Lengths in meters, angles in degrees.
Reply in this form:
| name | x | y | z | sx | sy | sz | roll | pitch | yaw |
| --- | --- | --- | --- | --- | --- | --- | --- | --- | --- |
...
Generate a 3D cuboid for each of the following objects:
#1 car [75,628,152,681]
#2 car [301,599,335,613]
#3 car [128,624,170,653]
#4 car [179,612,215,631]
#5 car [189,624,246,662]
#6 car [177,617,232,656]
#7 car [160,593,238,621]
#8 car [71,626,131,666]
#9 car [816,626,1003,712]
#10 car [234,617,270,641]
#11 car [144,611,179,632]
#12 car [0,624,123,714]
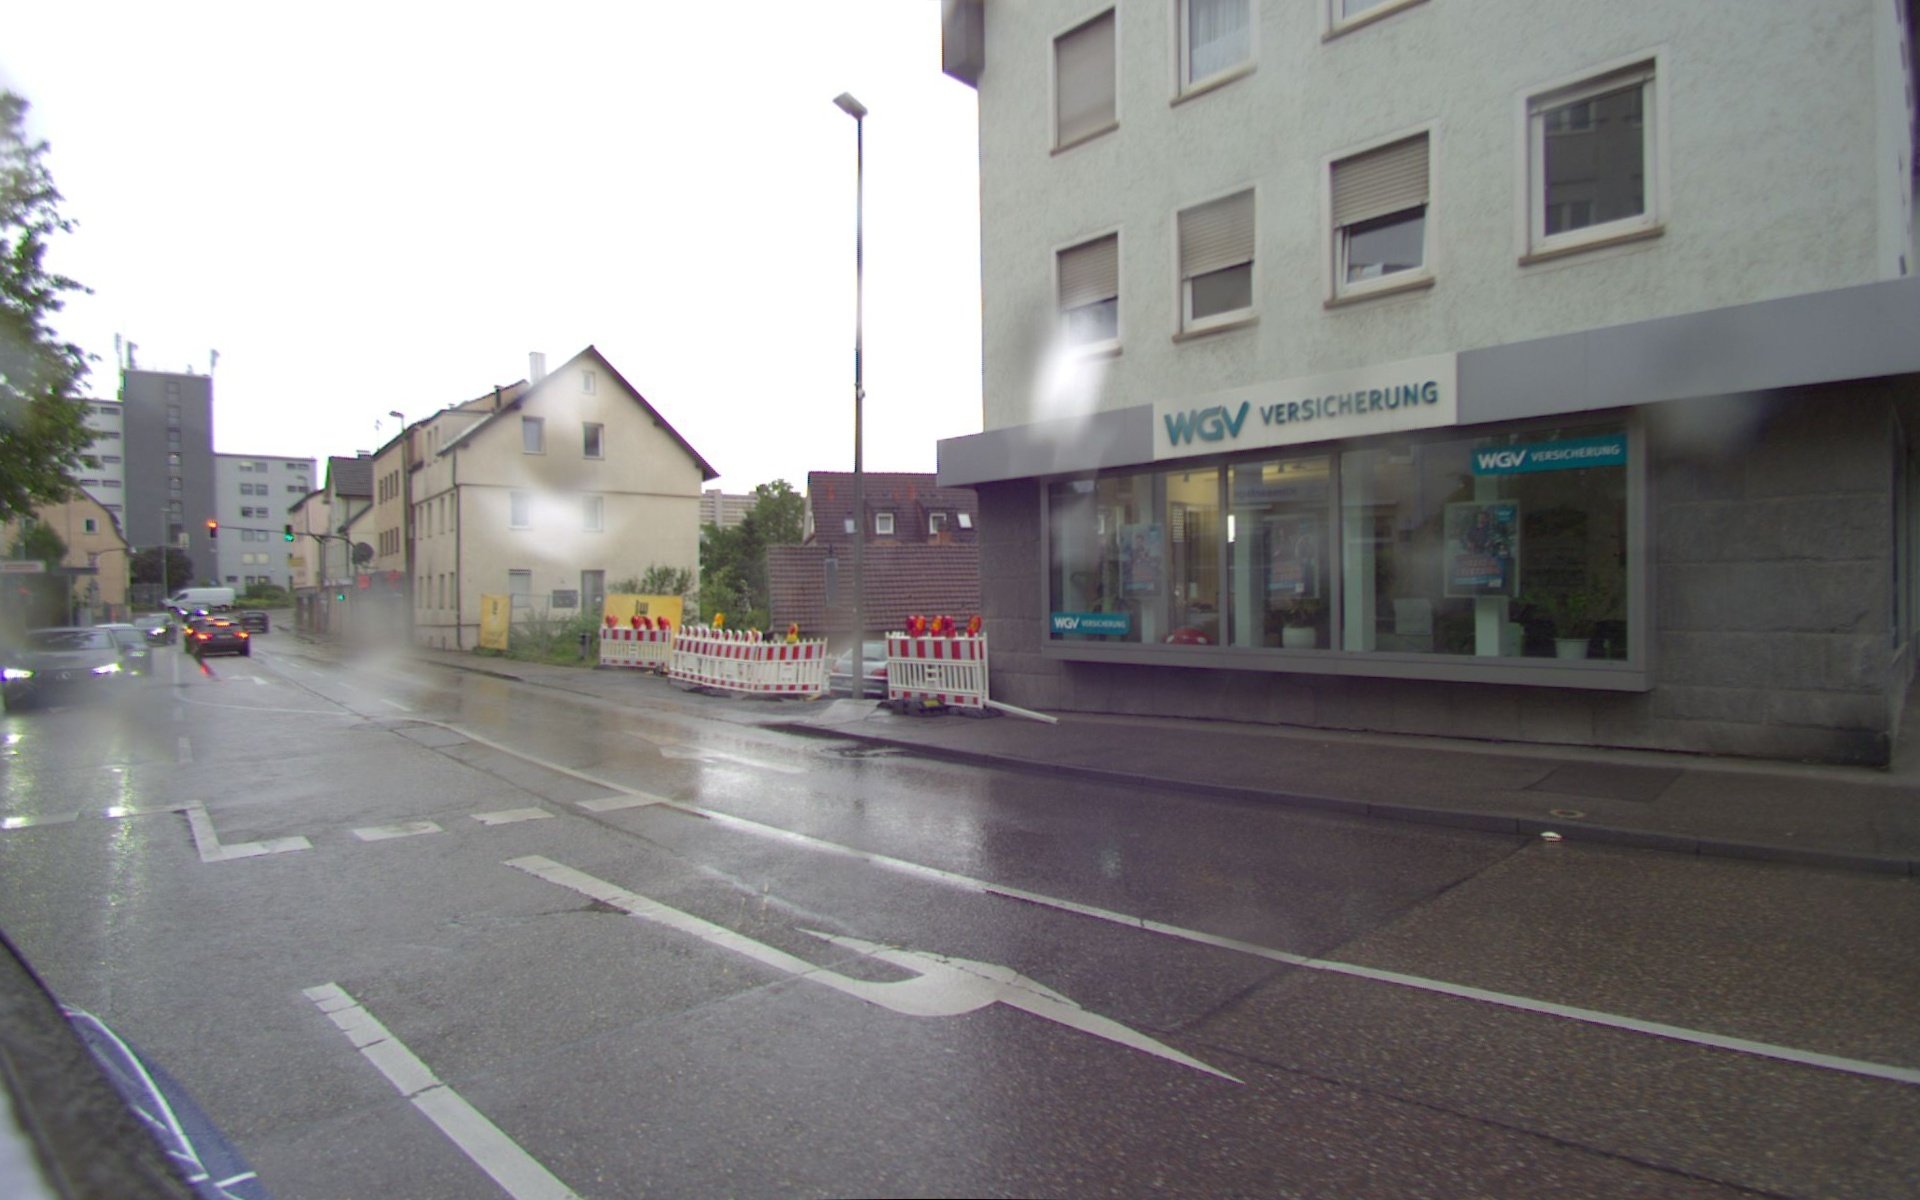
| name | x | y | z | sx | sy | sz | roll | pitch | yaw |
| --- | --- | --- | --- | --- | --- | --- | --- | --- | --- |
| car | -24.868 | 1.559 | 29.816 | 1.616 | 1.443 | 3.813 | 0 | -2 | -38 |
| car | -70.579 | 0.635 | 111.392 | 1.592 | 1.515 | 3.722 | -2 | 0 | -5 |
| car | -45.055 | 2.116 | 56.258 | 1.660 | 1.472 | 4.009 | -1 | 0 | -37 |
| car | -67.492 | 1.857 | 89.586 | 1.524 | 1.545 | 3.700 | -2 | 0 | -21 |
| car | -30.178 | 1.707 | 41.094 | 1.685 | 1.393 | 3.676 | -2 | 0 | -39 |
| car | -34.468 | 1.658 | 46.137 | 1.793 | 1.657 | 4.283 | -2 | 0 | -39 |
| car | -78.788 | 0.681 | 104.864 | 6.320 | 2.539 | 2.681 | -3 | 1 | -39 |
| car | -33.290 | 1.746 | 39.212 | 1.661 | 1.432 | 4.006 | -1 | 0 | -41 |
| car | -0.923 | 1.403 | 19.810 | 1.651 | 1.401 | 3.461 | -4 | -10 | 42 |
| car | -50.070 | 2.025 | 71.509 | 1.792 | 1.583 | 4.283 | 0 | -1 | -39 |
| car | -56.863 | 1.526 | 72.120 | 1.660 | 1.472 | 4.010 | -1 | 0 | -34 |
| car | -18.299 | 1.329 | 20.654 | 1.793 | 1.583 | 4.283 | -2 | 0 | -39 |
